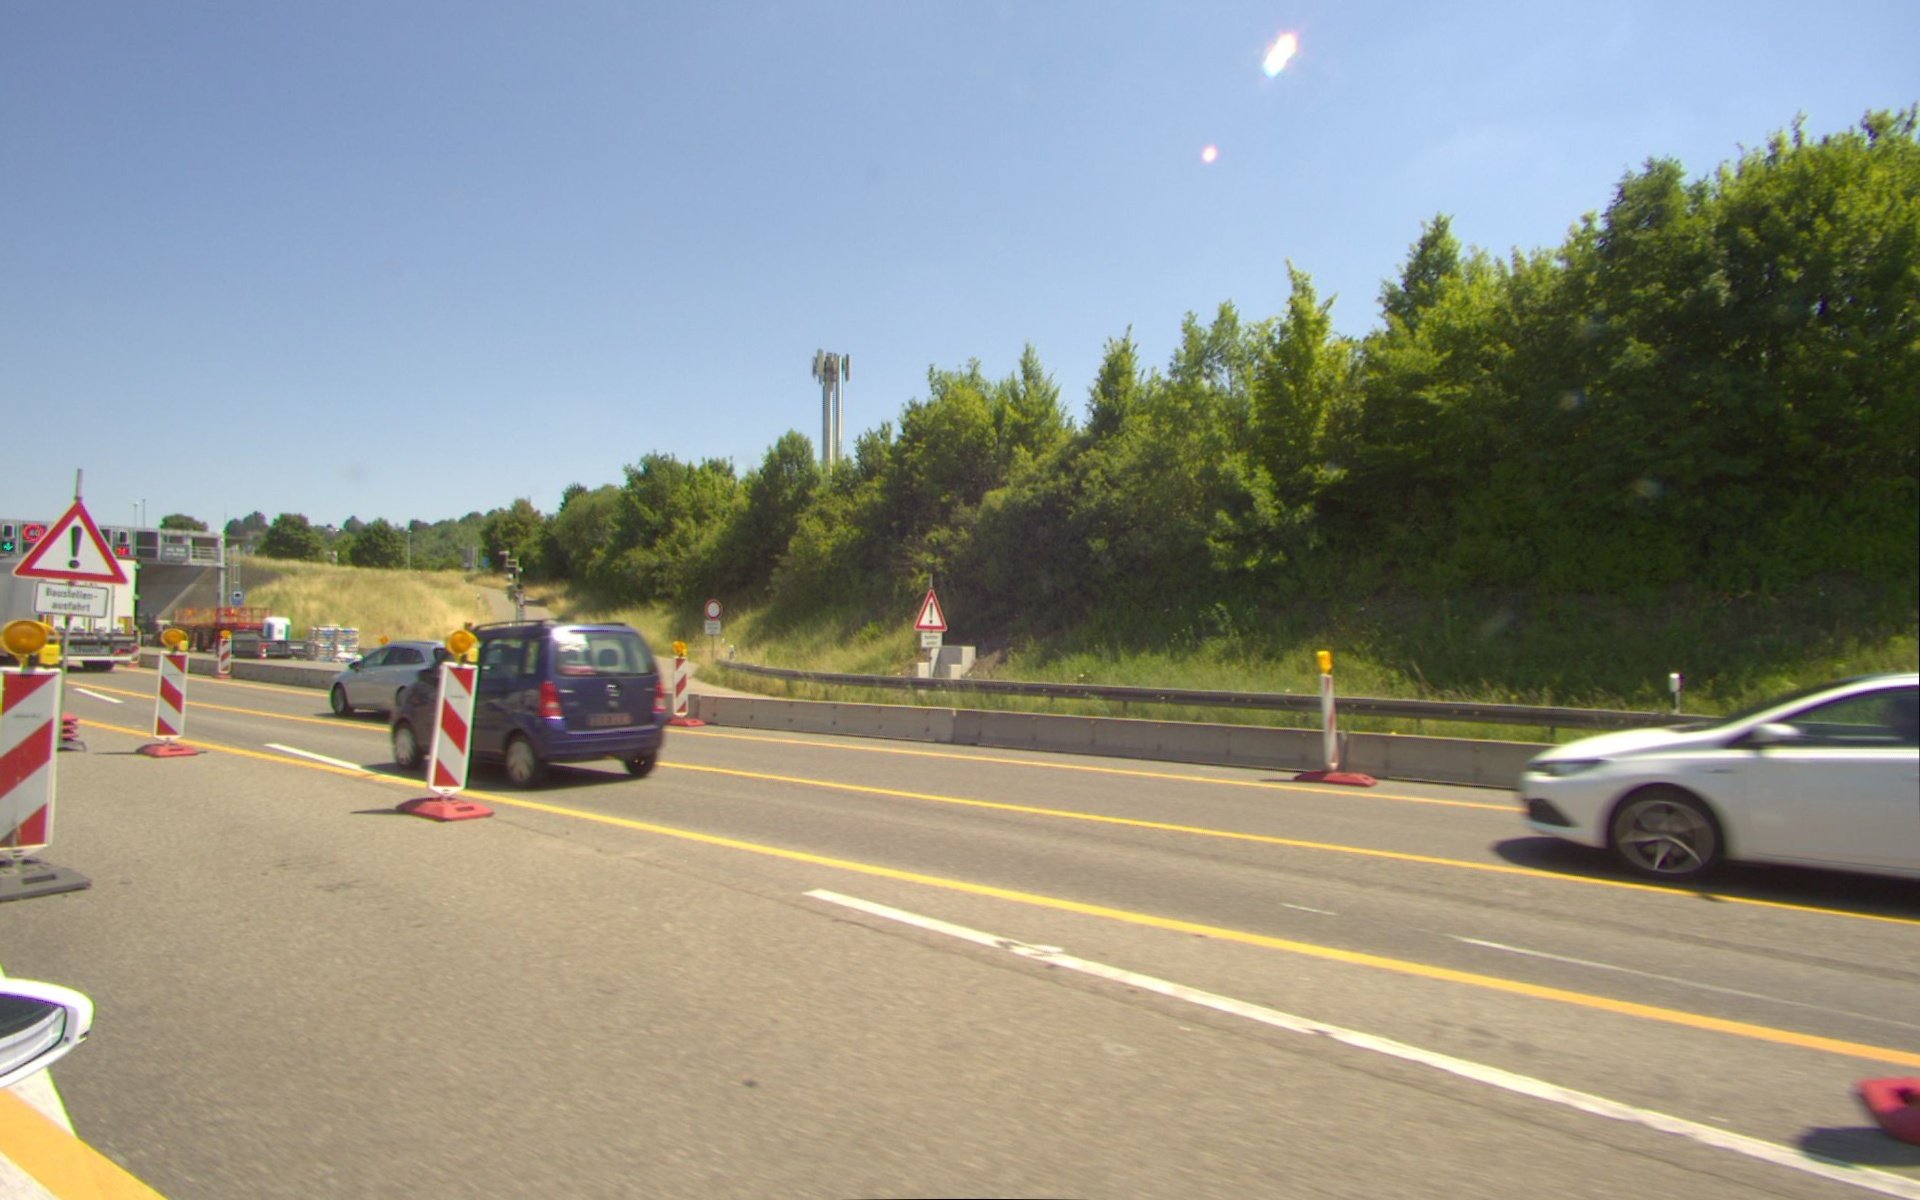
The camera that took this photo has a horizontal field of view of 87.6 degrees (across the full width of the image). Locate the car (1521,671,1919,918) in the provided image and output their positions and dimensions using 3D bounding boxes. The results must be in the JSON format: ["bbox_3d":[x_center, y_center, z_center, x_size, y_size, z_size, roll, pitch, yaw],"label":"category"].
[{"bbox_3d":[6.487,1.228,6.687,4.593,1.482,1.810,-3,-5,36],"label":"car"}]

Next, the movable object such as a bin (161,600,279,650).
[{"bbox_3d":[-50.036,1.687,67.426,14.529,3.050,3.097,-1,-1,40],"label":"movable object such as a bin"}]

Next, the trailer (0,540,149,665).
[{"bbox_3d":[-34.679,0.288,38.289,13.923,4.112,2.723,-1,-3,39],"label":"trailer"}]

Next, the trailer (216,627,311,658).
[{"bbox_3d":[-39.553,2.343,56.806,6.154,1.589,2.586,-1,0,36],"label":"trailer"}]

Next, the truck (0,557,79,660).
[{"bbox_3d":[-40.084,0.443,42.657,5.854,4.083,2.736,-1,-3,38],"label":"truck"}]

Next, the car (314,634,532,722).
[{"bbox_3d":[-10.346,1.426,19.178,4.590,1.483,1.811,-1,-3,35],"label":"car"}]

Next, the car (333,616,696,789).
[{"bbox_3d":[-5.322,1.069,11.717,4.592,1.663,1.810,-1,-3,36],"label":"car"}]
